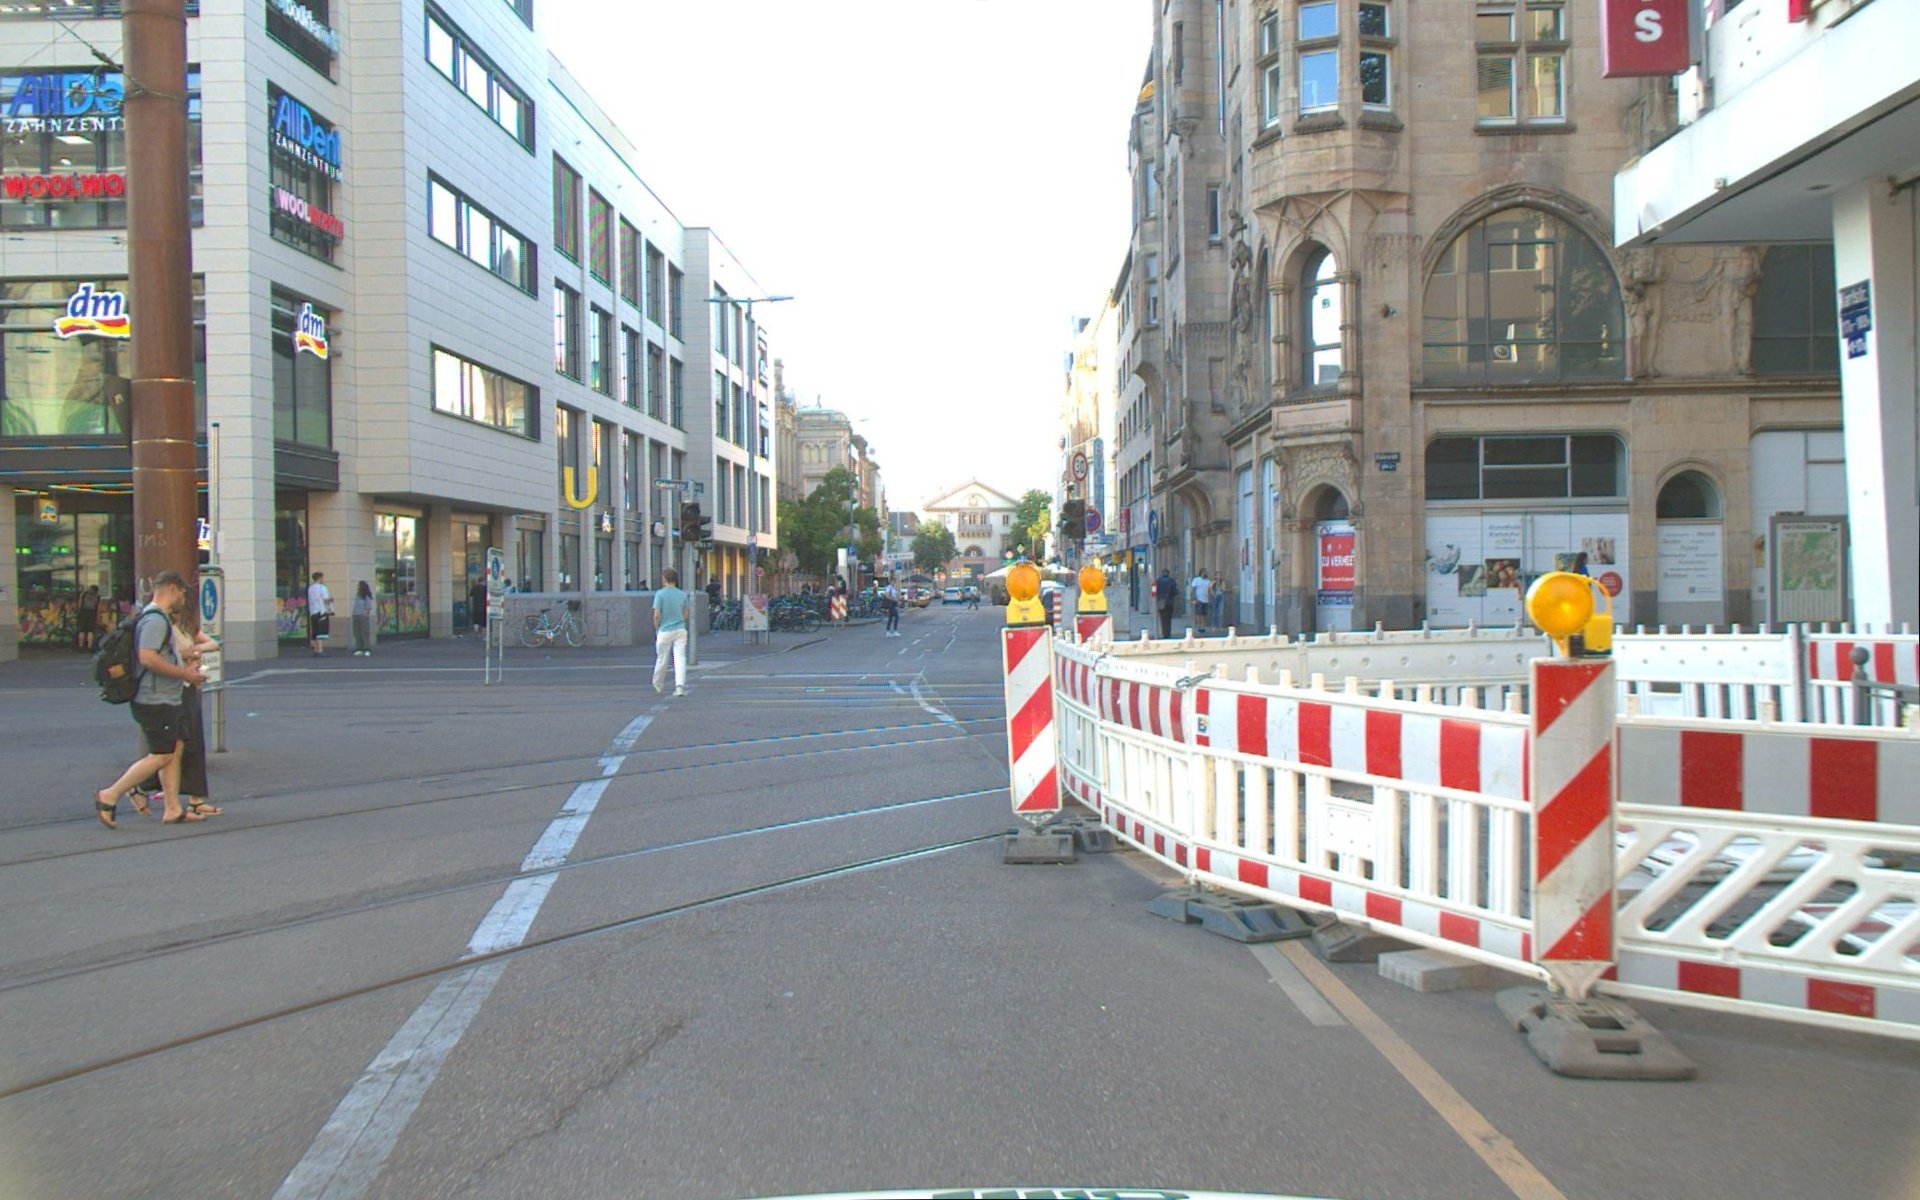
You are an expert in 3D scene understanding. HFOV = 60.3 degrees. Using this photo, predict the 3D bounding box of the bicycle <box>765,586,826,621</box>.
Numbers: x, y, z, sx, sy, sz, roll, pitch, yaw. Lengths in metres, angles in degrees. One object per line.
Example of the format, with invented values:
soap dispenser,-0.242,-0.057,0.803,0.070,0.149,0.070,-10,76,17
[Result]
bicycle,-5.496,0.125,55.268,1.944,1.141,0.553,0,0,-28

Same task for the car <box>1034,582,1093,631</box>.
car,3.197,0.176,51.597,1.644,1.449,3.674,1,1,1

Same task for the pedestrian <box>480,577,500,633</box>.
pedestrian,-13.041,0.137,45.922,0.382,1.541,0.506,-1,0,0

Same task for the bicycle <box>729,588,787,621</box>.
bicycle,-7.026,0.165,57.623,1.944,1.141,0.553,0,0,-28

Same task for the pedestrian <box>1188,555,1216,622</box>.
pedestrian,6.338,-0.297,43.360,0.612,1.719,0.671,-1,0,-1

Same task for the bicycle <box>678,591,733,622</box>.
bicycle,-9.499,0.231,61.680,1.944,1.141,0.553,0,0,-28

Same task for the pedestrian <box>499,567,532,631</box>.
pedestrian,-12.370,-0.026,46.057,0.766,1.781,0.600,0,0,-2

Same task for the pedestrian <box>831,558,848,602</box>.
pedestrian,-5.157,-0.862,70.718,0.645,1.855,0.527,-1,0,-9

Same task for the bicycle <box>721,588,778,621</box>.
bicycle,-7.407,0.154,58.273,1.944,1.141,0.553,0,0,-28

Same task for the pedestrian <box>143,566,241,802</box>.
pedestrian,-5.431,0.577,11.715,0.561,1.621,0.446,-1,0,-20

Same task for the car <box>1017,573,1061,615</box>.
car,3.228,-0.257,68.307,1.644,1.641,4.029,-2,0,1

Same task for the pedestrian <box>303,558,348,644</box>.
pedestrian,-14.196,0.023,36.997,0.560,1.887,0.817,1,0,13

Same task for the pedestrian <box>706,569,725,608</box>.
pedestrian,-10.374,-0.484,70.133,0.665,1.649,0.573,-1,0,1

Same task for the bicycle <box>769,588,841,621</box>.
bicycle,-6.343,0.157,67.883,2.850,1.277,0.798,-1,1,-25

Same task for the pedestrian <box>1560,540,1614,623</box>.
pedestrian,12.586,-0.377,33.215,0.802,1.639,0.713,0,0,1

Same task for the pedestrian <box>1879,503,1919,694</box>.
pedestrian,9.332,-0.013,15.778,0.708,1.800,0.669,0,0,-12

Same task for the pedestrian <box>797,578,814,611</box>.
pedestrian,-7.326,-0.280,78.512,0.736,1.556,0.485,-1,0,1

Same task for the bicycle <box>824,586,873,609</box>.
bicycle,-5.020,-0.123,74.445,2.103,0.970,0.640,-1,0,3

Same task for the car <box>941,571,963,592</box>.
car,-0.691,-1.740,154.996,1.952,1.937,4.001,1,1,1

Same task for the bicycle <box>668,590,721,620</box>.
bicycle,-10.232,0.202,63.842,1.944,1.141,0.553,0,0,-28

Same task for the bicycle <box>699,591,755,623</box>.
bicycle,-8.539,0.251,60.612,1.944,1.141,0.553,0,0,-28

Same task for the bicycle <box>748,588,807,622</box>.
bicycle,-6.256,0.181,56.753,1.944,1.141,0.553,0,0,-28

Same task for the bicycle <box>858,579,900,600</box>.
bicycle,-4.192,-0.532,85.922,2.103,1.047,0.640,-1,0,3

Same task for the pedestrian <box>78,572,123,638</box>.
pedestrian,-20.473,0.119,39.396,0.560,1.553,0.791,1,0,13

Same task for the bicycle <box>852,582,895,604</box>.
bicycle,-4.358,-0.364,83.648,2.103,1.047,0.640,-1,0,3

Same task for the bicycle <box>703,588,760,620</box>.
bicycle,-8.217,0.134,59.523,1.944,1.141,0.553,0,0,-28

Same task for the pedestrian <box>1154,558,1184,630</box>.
pedestrian,5.042,-0.157,39.994,0.612,1.719,0.671,-1,0,-1

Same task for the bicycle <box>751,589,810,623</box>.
bicycle,-6.080,0.190,56.031,1.944,1.141,0.553,0,0,-28

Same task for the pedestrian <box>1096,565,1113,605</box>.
pedestrian,6.312,-0.665,72.323,0.630,1.719,0.671,-1,0,-1

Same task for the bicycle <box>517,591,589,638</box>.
bicycle,-10.095,0.362,41.047,1.660,1.141,0.451,1,0,4

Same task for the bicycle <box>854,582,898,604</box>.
bicycle,-4.212,-0.355,82.915,2.103,1.047,0.640,-1,0,3

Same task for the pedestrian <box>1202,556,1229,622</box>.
pedestrian,6.798,-0.291,44.009,0.612,1.719,0.626,-1,0,-1

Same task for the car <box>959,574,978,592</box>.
car,0.934,-1.828,176.572,1.952,1.937,4.001,1,1,1

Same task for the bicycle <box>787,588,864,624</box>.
bicycle,-5.128,0.218,63.085,2.850,1.277,0.798,-1,1,-25

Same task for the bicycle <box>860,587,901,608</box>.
bicycle,-4.210,-0.137,87.730,2.103,1.047,0.640,-1,0,3

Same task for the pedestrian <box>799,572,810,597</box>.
pedestrian,-10.200,-1.027,108.621,0.665,1.649,0.573,-1,0,1

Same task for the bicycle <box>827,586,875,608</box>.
bicycle,-5.015,-0.138,76.016,2.103,0.970,0.640,-1,0,3

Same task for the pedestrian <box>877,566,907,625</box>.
pedestrian,-2.049,-0.138,49.667,0.818,1.750,0.681,-1,0,-6

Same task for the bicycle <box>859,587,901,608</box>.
bicycle,-4.179,-0.126,86.694,2.103,1.047,0.640,-1,0,3

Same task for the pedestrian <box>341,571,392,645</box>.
pedestrian,-13.702,0.173,38.194,0.750,1.688,0.817,1,0,15

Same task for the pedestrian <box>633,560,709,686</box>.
pedestrian,-4.217,0.323,24.180,0.847,1.791,0.768,1,0,13

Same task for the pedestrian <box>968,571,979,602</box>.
pedestrian,0.830,-0.840,102.439,0.588,1.855,0.451,-1,0,-9

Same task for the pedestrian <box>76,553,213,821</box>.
pedestrian,-5.460,0.558,11.108,0.733,1.730,0.606,-1,0,-21

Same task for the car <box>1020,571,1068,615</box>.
car,3.167,-0.271,62.547,1.644,1.574,3.674,-2,0,1

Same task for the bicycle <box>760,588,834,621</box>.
bicycle,-6.556,0.170,66.395,2.850,1.277,0.798,-1,1,-25

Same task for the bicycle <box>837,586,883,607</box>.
bicycle,-4.681,-0.168,77.590,2.103,0.970,0.640,-1,0,3

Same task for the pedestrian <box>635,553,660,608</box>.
pedestrian,-9.910,-0.612,52.494,0.667,1.710,0.600,0,0,-2

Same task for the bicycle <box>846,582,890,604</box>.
bicycle,-4.569,-0.350,82.132,2.103,1.047,0.640,-1,0,3

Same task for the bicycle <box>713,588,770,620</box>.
bicycle,-7.784,0.144,58.909,1.944,1.141,0.553,0,0,-28

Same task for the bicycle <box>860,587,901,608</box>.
bicycle,-4.248,-0.145,88.457,2.103,1.047,0.640,-1,0,3
